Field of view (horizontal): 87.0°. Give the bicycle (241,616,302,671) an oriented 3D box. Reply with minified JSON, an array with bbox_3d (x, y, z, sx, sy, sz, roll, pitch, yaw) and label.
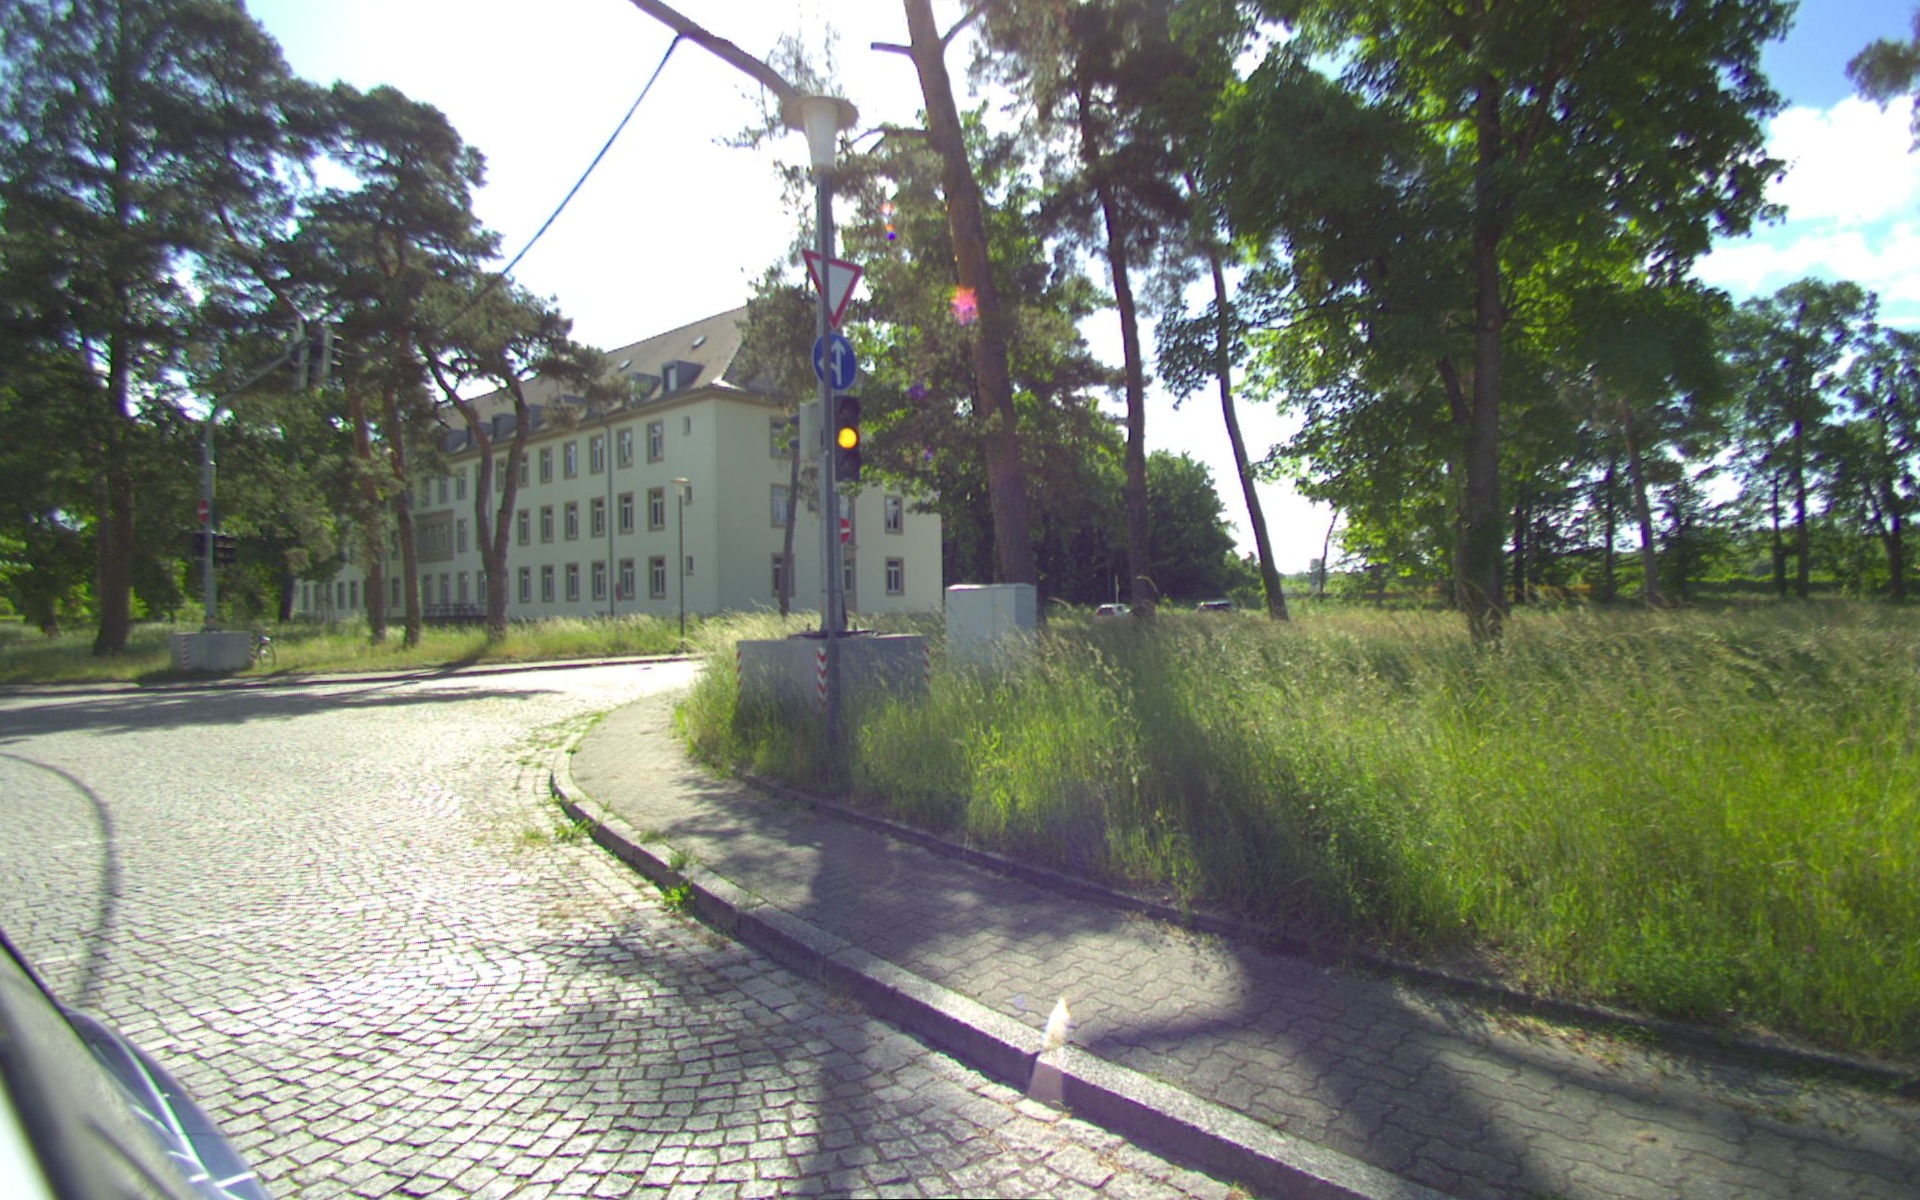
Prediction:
[{"bbox_3d":[-17.232,1.079,25.316,2.113,1.293,0.613,-2,2,39],"label":"bicycle"}]

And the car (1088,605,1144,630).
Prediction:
[{"bbox_3d":[10.345,1.139,66.875,1.720,1.593,4.051,-1,-1,42],"label":"car"}]

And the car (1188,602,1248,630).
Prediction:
[{"bbox_3d":[15.712,0.958,61.472,1.840,1.642,4.002,-2,-1,42],"label":"car"}]
